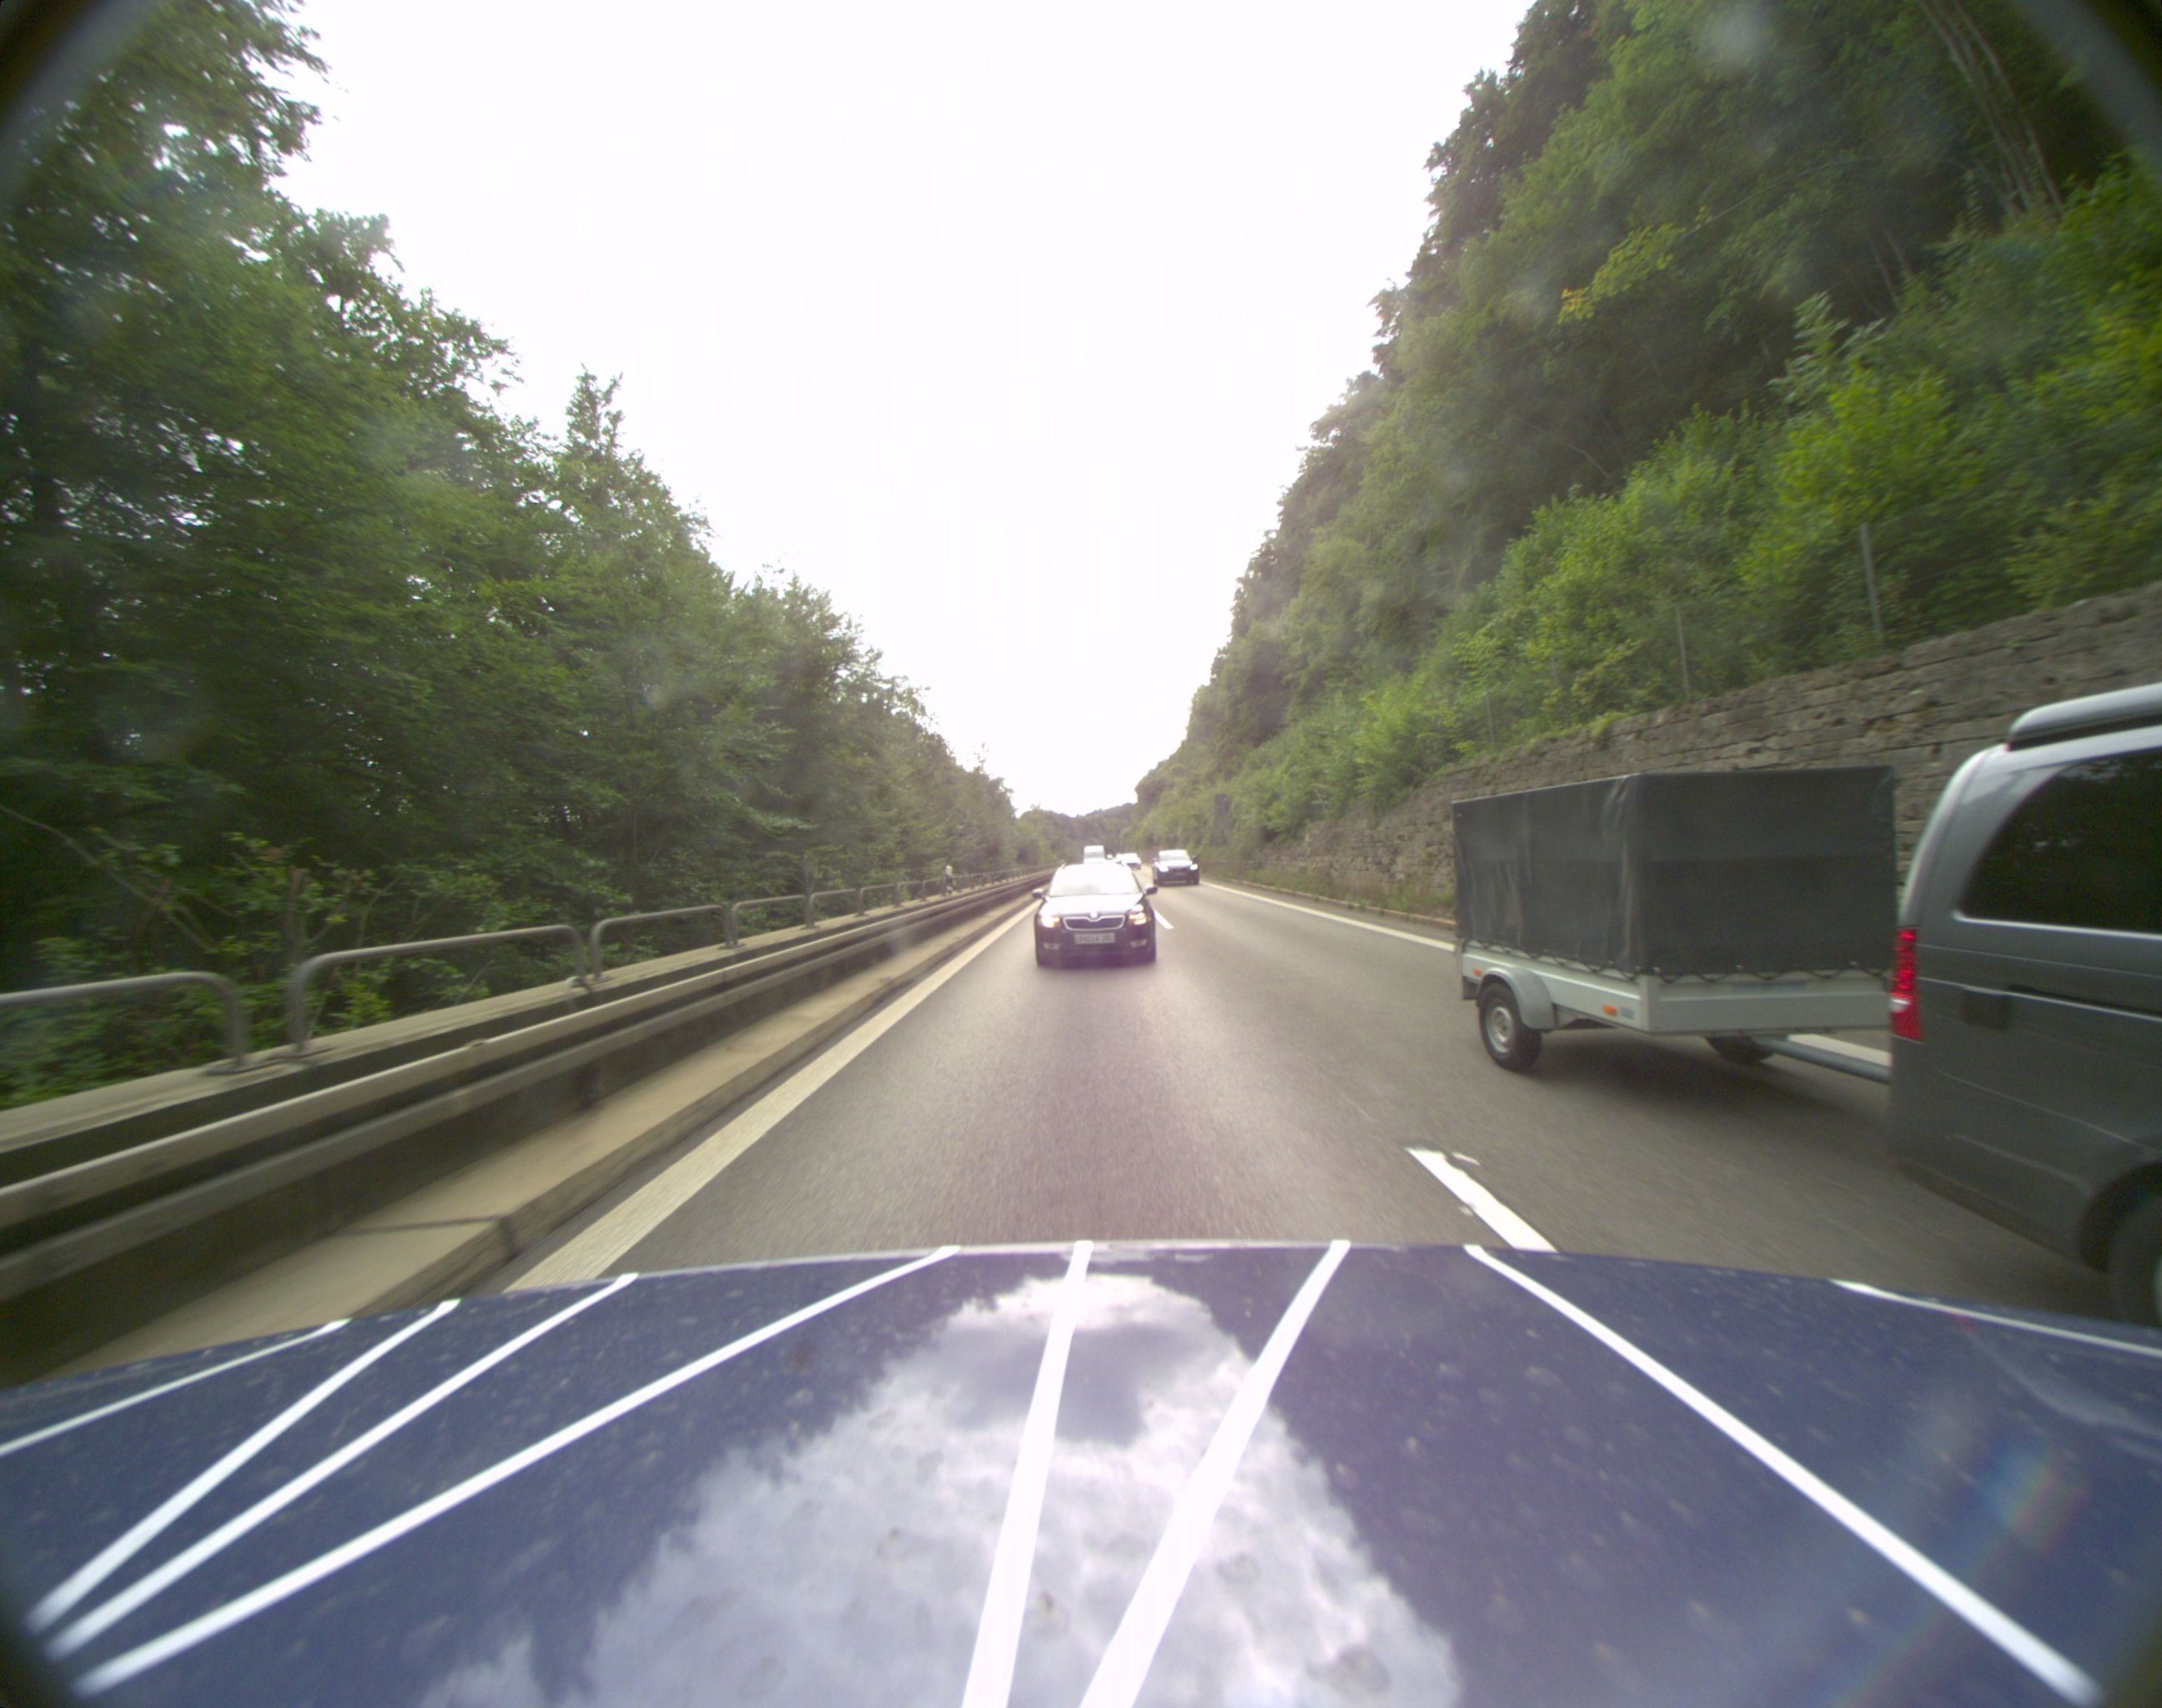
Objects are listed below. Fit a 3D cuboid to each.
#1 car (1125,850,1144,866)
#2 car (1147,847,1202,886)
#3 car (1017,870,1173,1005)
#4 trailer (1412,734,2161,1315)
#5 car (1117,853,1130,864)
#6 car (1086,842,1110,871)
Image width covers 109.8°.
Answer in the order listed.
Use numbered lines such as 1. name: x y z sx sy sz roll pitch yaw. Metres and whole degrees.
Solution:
1. car: 5.433 0.396 77.517 1.823 1.546 4.001 -1 -1 2
2. car: 4.444 0.541 36.855 1.976 1.584 5.585 -4 1 1
3. car: 0.199 0.971 10.664 1.638 1.384 4.499 -4 -1 1
4. trailer: 3.616 0.567 4.273 1.976 1.928 3.430 -2 0 0
5. car: 6.329 0.620 113.235 1.823 1.546 4.001 -1 -1 1
6. car: 1.584 0.272 69.778 2.099 2.547 5.921 -1 -1 2
